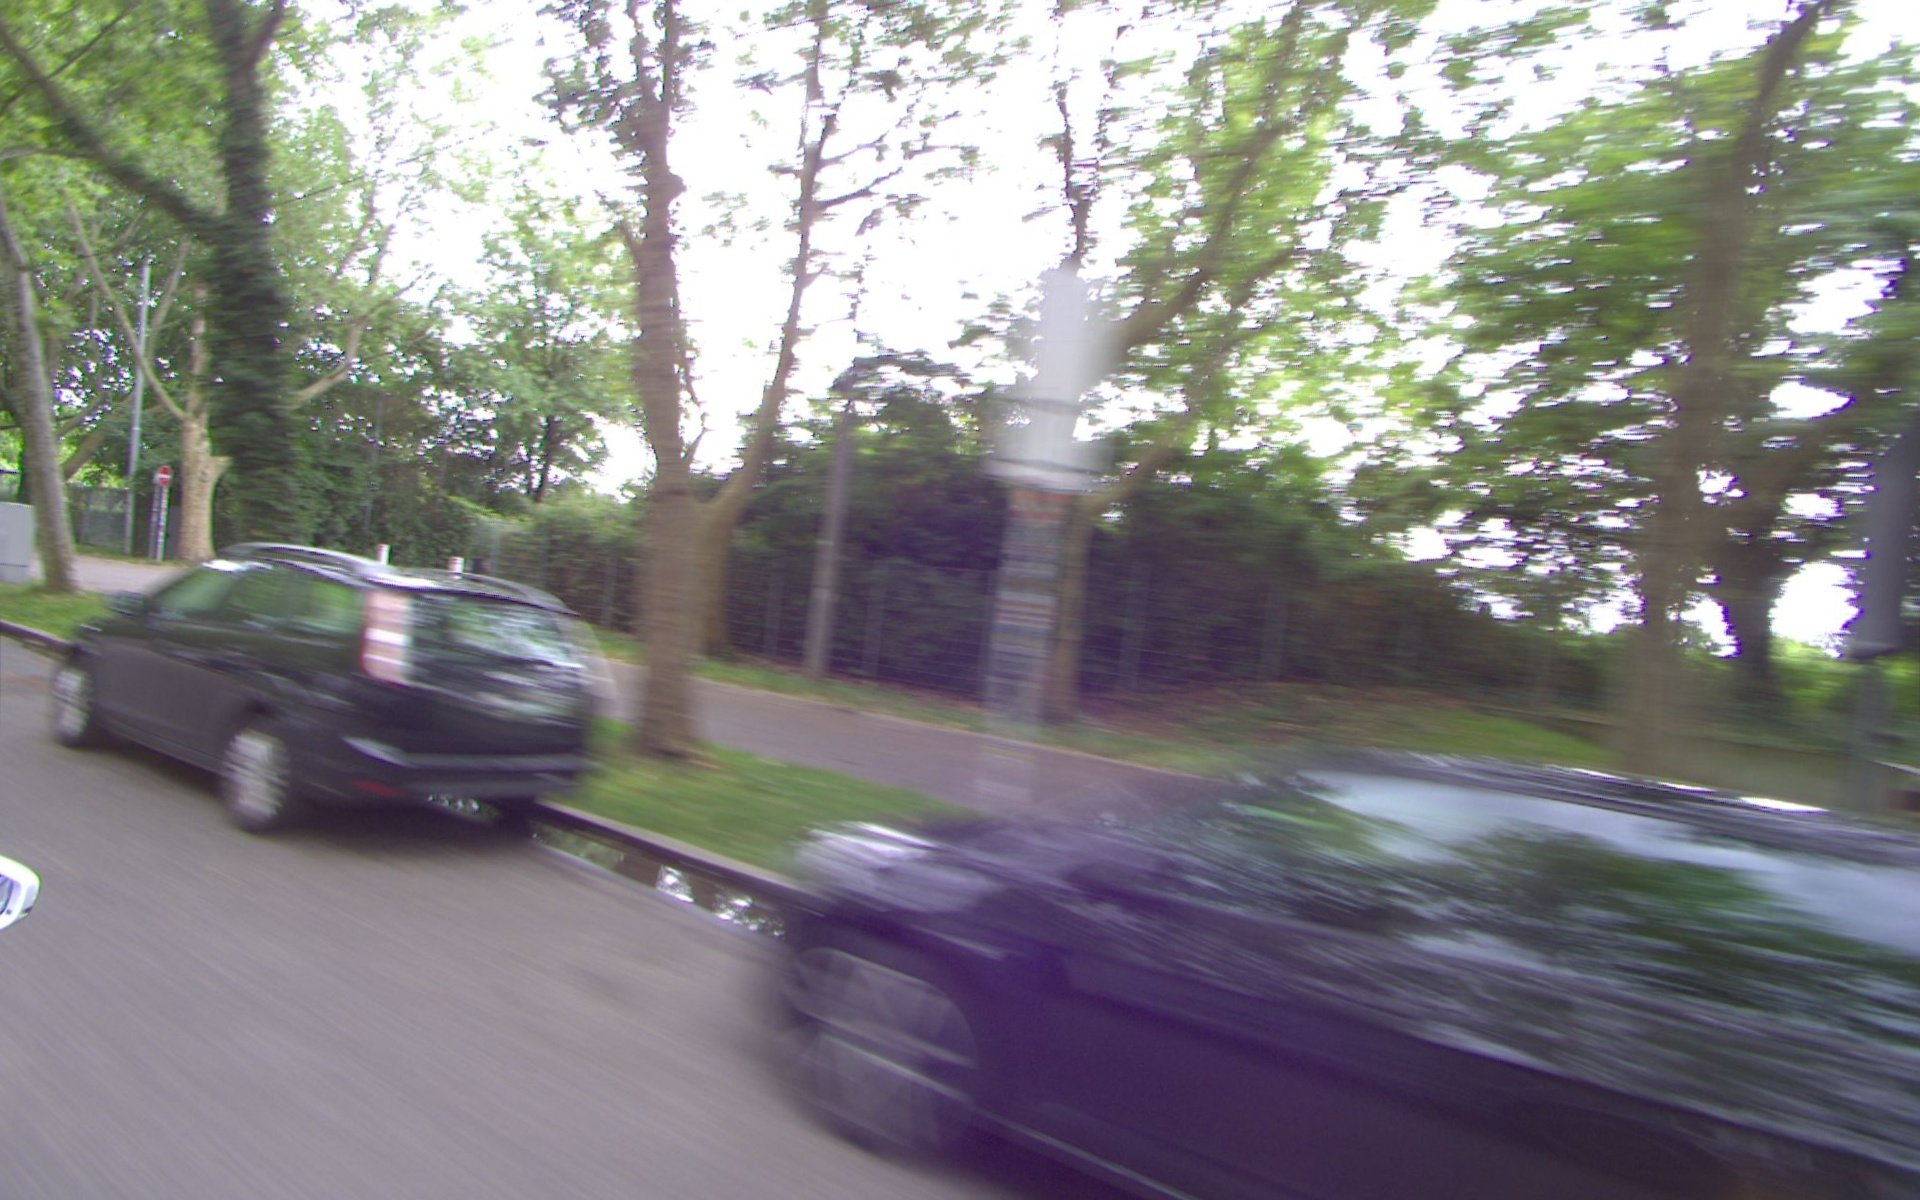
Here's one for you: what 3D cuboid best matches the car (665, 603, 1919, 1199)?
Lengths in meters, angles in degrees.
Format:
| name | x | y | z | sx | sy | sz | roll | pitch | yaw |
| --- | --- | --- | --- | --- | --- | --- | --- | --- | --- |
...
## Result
| name | x | y | z | sx | sy | sz | roll | pitch | yaw |
| --- | --- | --- | --- | --- | --- | --- | --- | --- | --- |
| car | 1.254 | 1.050 | 3.028 | 4.084 | 1.487 | 1.742 | 7 | -3 | 34 |

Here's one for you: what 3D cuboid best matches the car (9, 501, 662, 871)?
| name | x | y | z | sx | sy | sz | roll | pitch | yaw |
| --- | --- | --- | --- | --- | --- | --- | --- | --- | --- |
| car | -4.270 | 0.408 | 6.700 | 4.323 | 1.570 | 1.782 | 7 | -3 | 31 |
